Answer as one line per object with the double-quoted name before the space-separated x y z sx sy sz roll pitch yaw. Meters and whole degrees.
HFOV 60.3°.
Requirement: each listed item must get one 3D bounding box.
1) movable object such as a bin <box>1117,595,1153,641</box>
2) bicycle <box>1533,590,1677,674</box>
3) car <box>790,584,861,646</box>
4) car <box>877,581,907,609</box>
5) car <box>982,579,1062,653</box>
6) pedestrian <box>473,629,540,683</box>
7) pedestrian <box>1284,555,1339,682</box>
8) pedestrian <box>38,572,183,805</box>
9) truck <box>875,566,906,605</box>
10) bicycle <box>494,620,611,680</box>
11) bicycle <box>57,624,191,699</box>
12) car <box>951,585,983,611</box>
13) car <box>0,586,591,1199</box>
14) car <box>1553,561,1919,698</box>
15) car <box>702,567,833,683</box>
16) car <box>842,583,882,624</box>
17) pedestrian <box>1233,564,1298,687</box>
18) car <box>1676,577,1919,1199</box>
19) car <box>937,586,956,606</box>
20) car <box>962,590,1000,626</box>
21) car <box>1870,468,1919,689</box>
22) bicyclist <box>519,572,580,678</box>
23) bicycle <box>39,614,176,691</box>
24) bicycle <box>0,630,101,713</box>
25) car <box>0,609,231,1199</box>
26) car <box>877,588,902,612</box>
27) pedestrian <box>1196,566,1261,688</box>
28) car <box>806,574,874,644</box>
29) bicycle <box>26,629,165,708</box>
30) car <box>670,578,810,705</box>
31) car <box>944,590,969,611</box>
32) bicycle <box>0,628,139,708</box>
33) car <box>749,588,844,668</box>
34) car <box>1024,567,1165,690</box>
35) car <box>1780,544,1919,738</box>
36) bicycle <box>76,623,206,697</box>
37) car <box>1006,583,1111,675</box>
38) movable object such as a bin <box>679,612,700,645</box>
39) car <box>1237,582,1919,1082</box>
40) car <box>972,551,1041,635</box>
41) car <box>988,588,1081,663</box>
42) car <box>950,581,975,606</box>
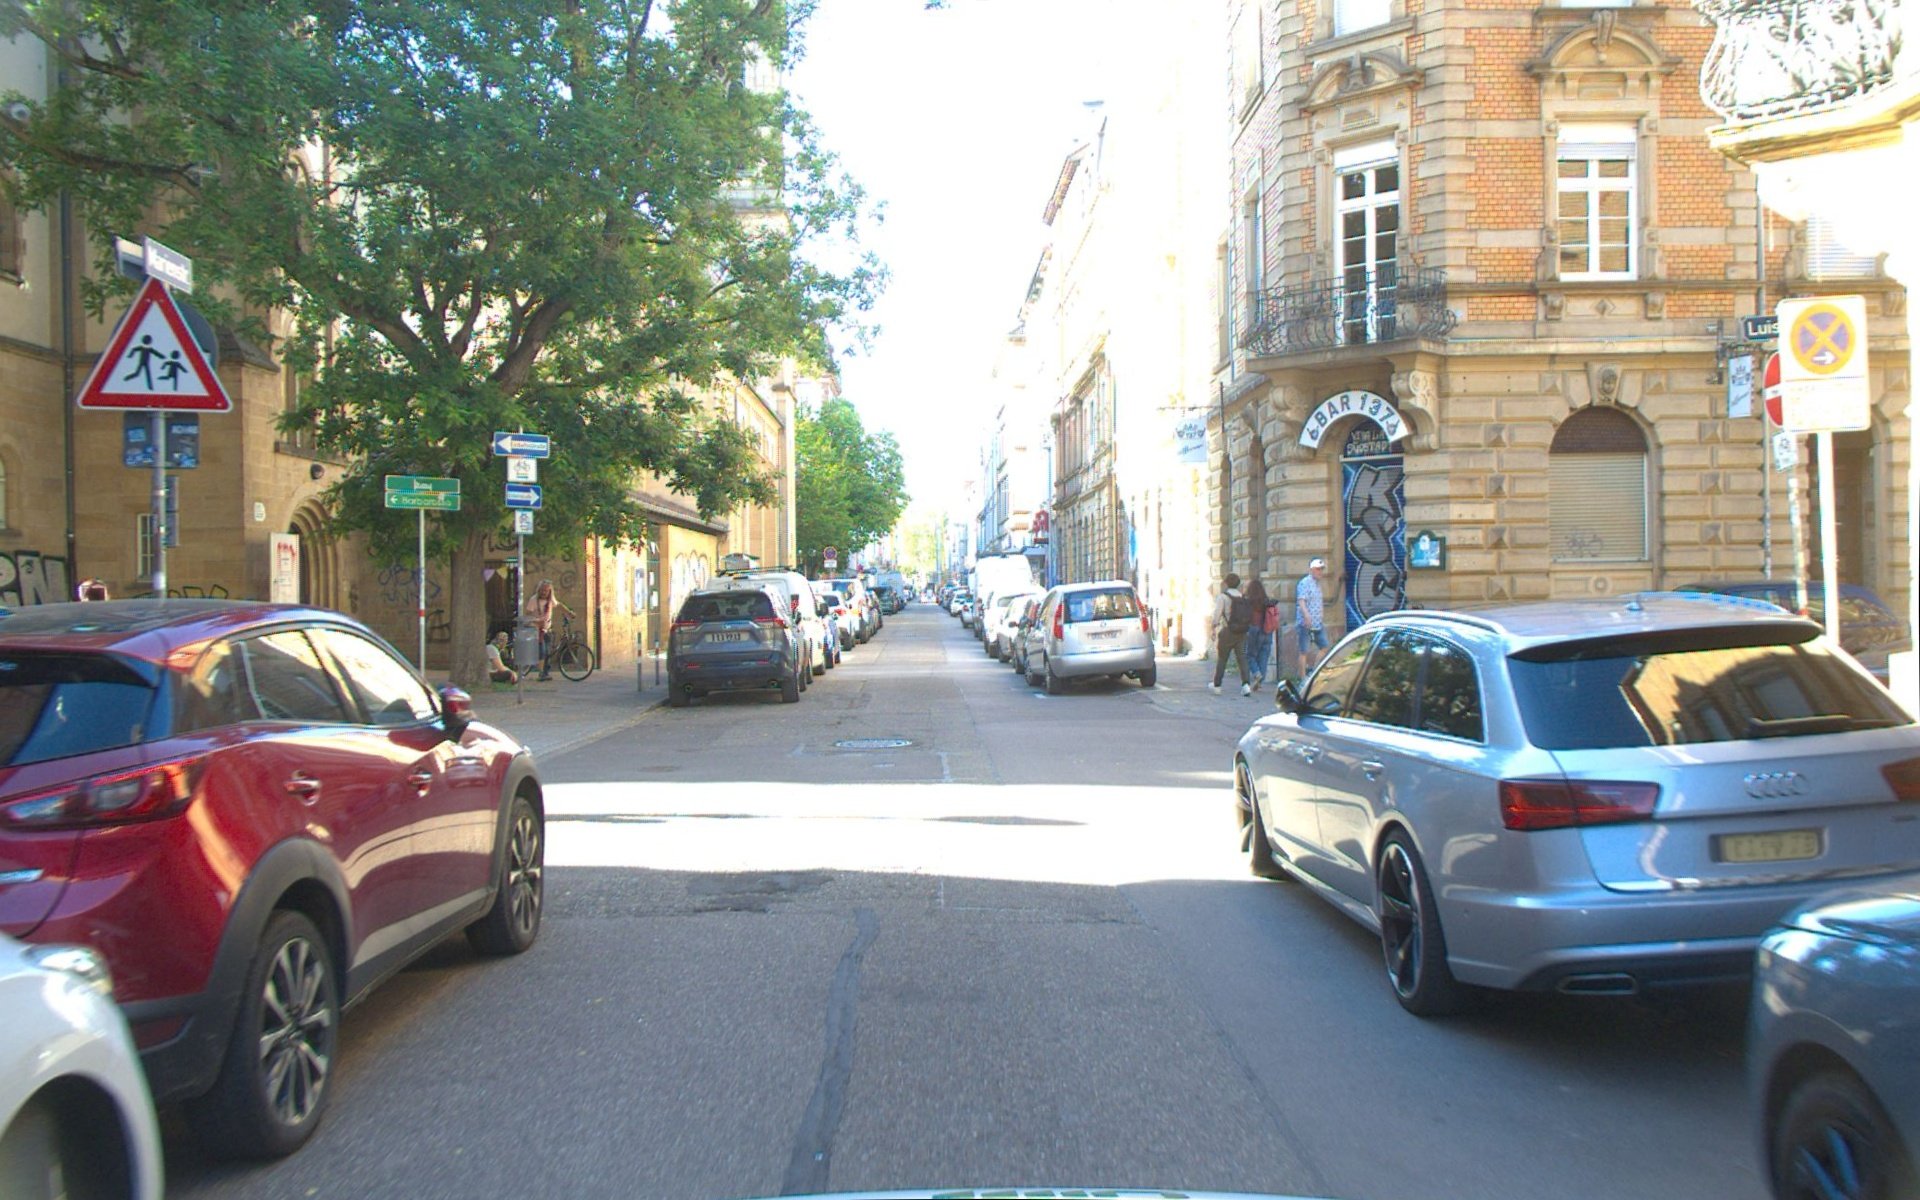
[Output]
"movable object such as a bin" 4.224 0.439 39.997 0.543 1.071 0.596 -5 1 -34
"bicycle" 8.802 0.425 22.599 1.740 1.073 0.534 -2 0 -2
"car" -3.680 0.375 45.858 1.707 1.614 3.868 -1 0 -1
"car" -4.586 -0.347 111.885 1.837 1.828 3.999 -1 0 -1
"car" 1.494 0.375 40.990 1.771 1.719 4.213 1 0 -1
"pedestrian" -7.185 0.881 26.215 0.904 0.792 0.697 -2 1 -25
"pedestrian" 4.987 0.256 23.452 0.648 1.763 0.576 -2 1 18
"pedestrian" -6.050 0.609 11.814 0.653 1.607 0.759 0 0 -2
"truck" -6.287 -1.307 150.253 2.480 3.339 6.993 -1 0 -1
"bicycle" -6.908 0.837 28.067 1.724 0.939 0.827 2 1 7
"bicycle" -12.756 0.934 25.257 1.740 1.073 0.478 -2 1 -2
"car" 0.387 -0.132 100.280 1.859 1.514 3.869 -1 1 -1
"car" -2.558 0.706 5.753 1.687 1.507 4.089 0 0 -1
"car" 9.405 0.321 19.908 3.899 1.477 1.733 -1 1 -1
"car" -3.378 0.379 29.857 1.808 1.894 4.465 -1 1 0
"car" -4.284 0.145 72.552 1.568 1.642 3.807 -4 0 -2
"pedestrian" 4.240 0.344 22.998 0.564 1.650 0.731 -3 1 -15
"car" 2.523 0.729 1.935 1.632 1.505 3.887 -1 1 -1
"car" -1.459 -0.437 176.452 1.953 2.049 3.999 -1 0 -1
"car" 0.892 0.324 71.550 1.571 1.531 4.000 0 1 0
"car" 15.029 -0.344 20.272 6.670 2.696 2.067 -1 3 -2
"bicyclist" -6.963 0.418 28.074 0.788 1.753 0.692 1 1 7
"bicycle" -12.734 0.784 24.732 1.740 1.073 0.478 -2 1 -2
"bicycle" -12.823 0.982 22.709 1.740 1.073 0.534 -2 1 -2
"car" -2.279 0.755 1.521 1.640 1.445 3.872 0 0 -3
"car" -5.691 -0.005 133.705 1.839 1.828 3.996 -1 0 -5
"pedestrian" 3.695 0.364 22.817 0.581 1.631 0.724 -3 1 -16
"car" -3.715 0.256 51.663 1.827 1.991 4.609 -3 1 -2
"bicycle" -12.710 1.002 24.332 1.740 1.073 0.478 -2 1 -2
"car" -3.178 0.537 24.583 1.706 1.675 4.286 -2 1 -3
"car" -0.330 0.006 134.110 1.953 1.660 3.999 1 0 -1
"bicycle" -12.865 0.973 23.845 1.740 1.073 0.534 -2 1 -2
"car" -3.412 0.550 35.133 1.653 1.502 3.859 -3 1 -2
"car" 2.065 0.398 26.336 1.669 1.744 3.936 -2 1 -3
"car" 9.373 0.246 13.901 4.161 1.496 1.766 -2 0 -8
"bicycle" -12.799 0.932 25.871 1.740 1.073 0.478 -2 1 -2
"car" 1.776 0.489 30.790 1.505 1.539 3.680 -2 1 -3
"movable object such as a bin" -7.011 0.733 42.816 0.444 0.821 0.590 -1 0 -1
"car" 2.450 0.673 7.185 1.671 1.484 4.510 0 0 -1
"car" 1.496 -0.270 55.711 2.026 2.656 5.887 -1 1 -1
"car" 1.596 0.519 36.686 1.541 1.552 3.904 1 0 -5
"car" 0.180 -0.487 120.700 1.733 1.771 3.999 -1 1 -1
